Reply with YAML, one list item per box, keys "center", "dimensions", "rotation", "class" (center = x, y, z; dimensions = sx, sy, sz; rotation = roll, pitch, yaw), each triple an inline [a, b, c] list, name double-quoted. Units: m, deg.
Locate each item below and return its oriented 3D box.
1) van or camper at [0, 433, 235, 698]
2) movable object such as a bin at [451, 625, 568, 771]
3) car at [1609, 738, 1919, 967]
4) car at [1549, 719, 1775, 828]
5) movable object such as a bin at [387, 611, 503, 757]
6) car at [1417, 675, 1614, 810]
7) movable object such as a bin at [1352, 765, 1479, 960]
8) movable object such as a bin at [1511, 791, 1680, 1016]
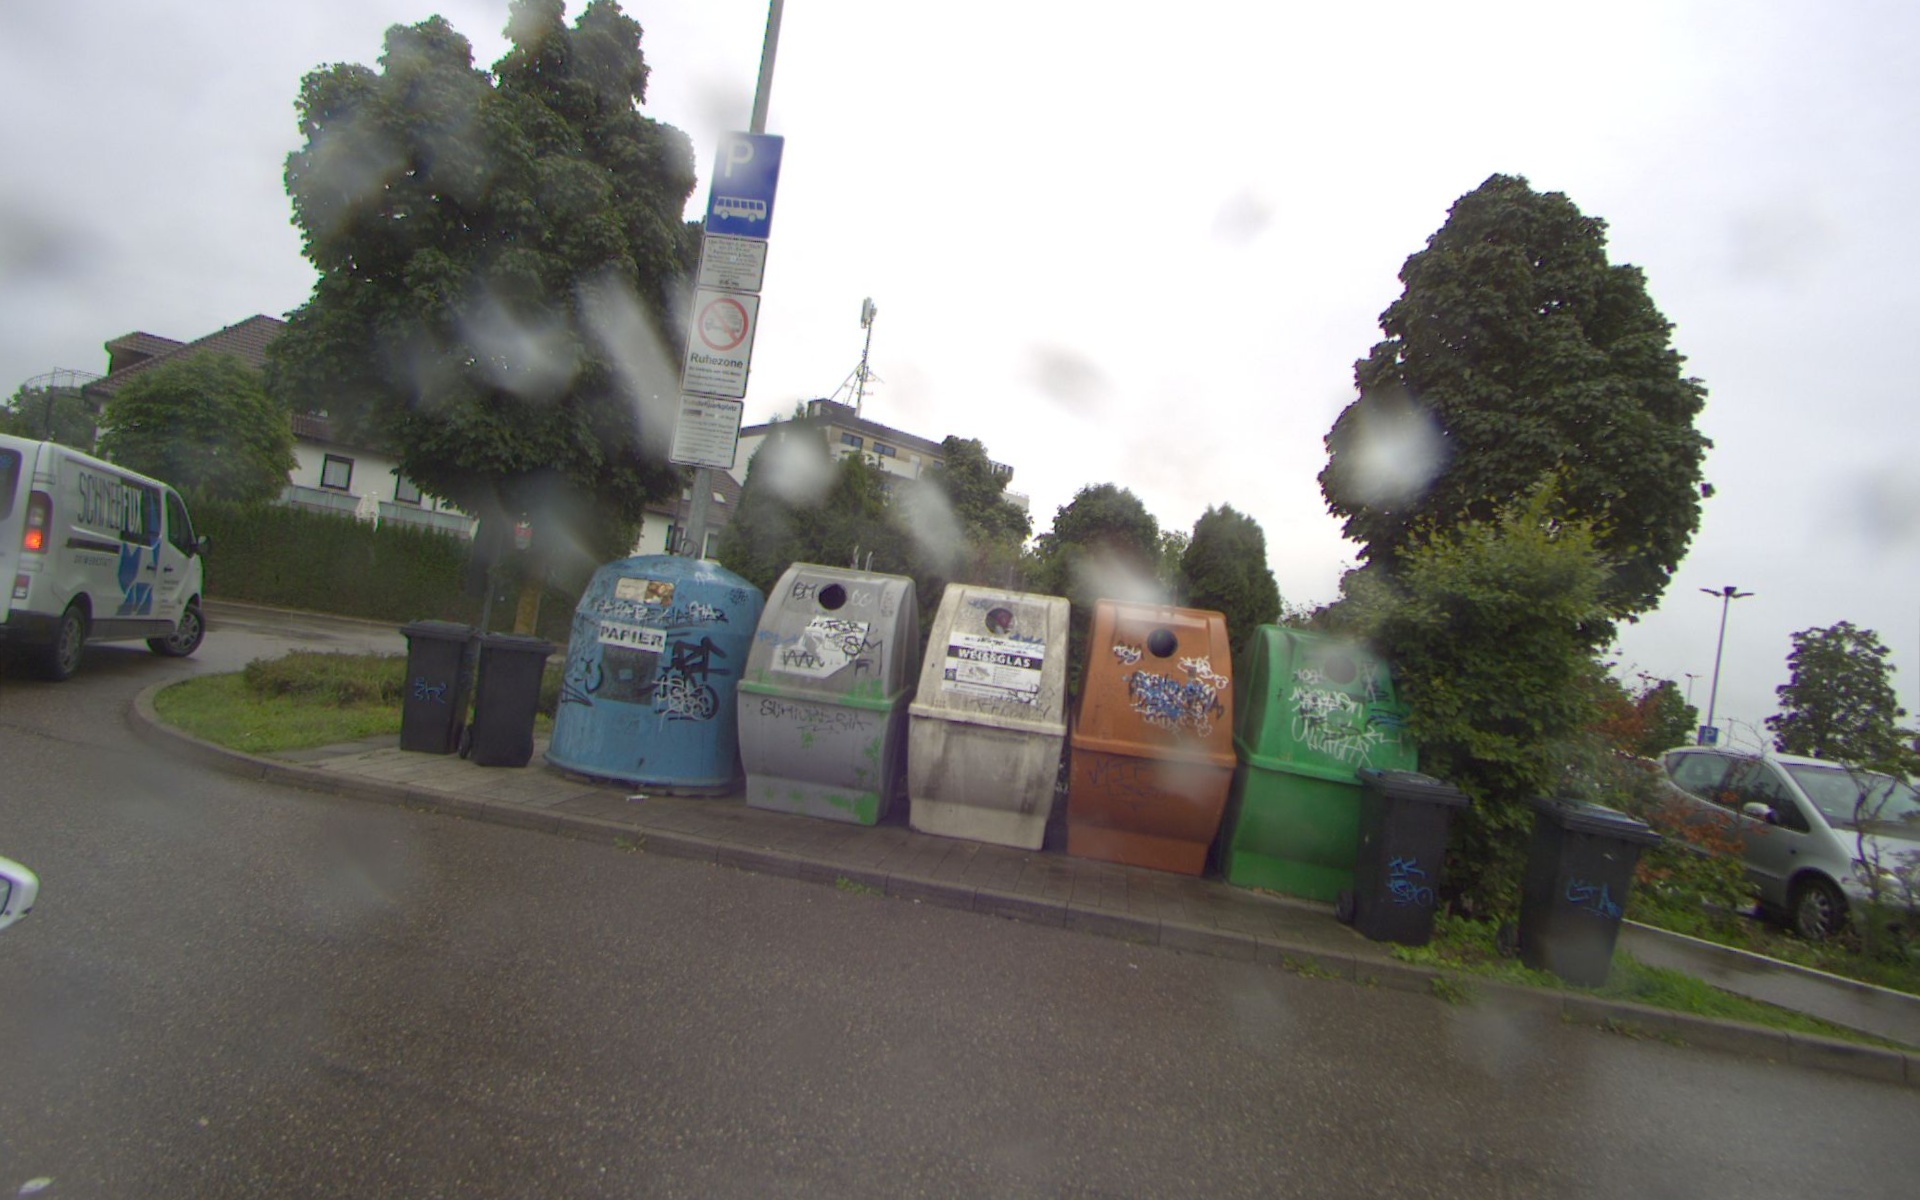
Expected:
- center: [-9.030, -0.444, 9.645]
  dimensions: [2.169, 1.967, 5.168]
  rotation: [9, -2, -25]
  class: "van or camper"
- center: [-3.145, 0.678, 7.031]
  dimensions: [0.480, 0.928, 0.449]
  rotation: [7, -1, 31]
  class: "movable object such as a bin"
- center: [8.104, 2.301, 9.660]
  dimensions: [1.519, 1.527, 3.674]
  rotation: [8, -4, 6]
  class: "car"
- center: [14.158, 3.431, 20.694]
  dimensions: [1.850, 1.489, 4.775]
  rotation: [7, -2, 10]
  class: "car"
- center: [-3.666, 0.595, 7.171]
  dimensions: [0.480, 0.950, 0.449]
  rotation: [7, -1, 31]
  class: "movable object such as a bin"
- center: [11.429, 2.824, 21.136]
  dimensions: [1.962, 2.213, 4.775]
  rotation: [7, -2, 10]
  class: "car"
- center: [2.503, 1.408, 5.518]
  dimensions: [0.410, 0.931, 0.493]
  rotation: [7, -1, 42]
  class: "movable object such as a bin"
- center: [3.260, 1.508, 5.154]
  dimensions: [0.549, 0.931, 0.627]
  rotation: [7, -1, 42]
  class: "movable object such as a bin"
